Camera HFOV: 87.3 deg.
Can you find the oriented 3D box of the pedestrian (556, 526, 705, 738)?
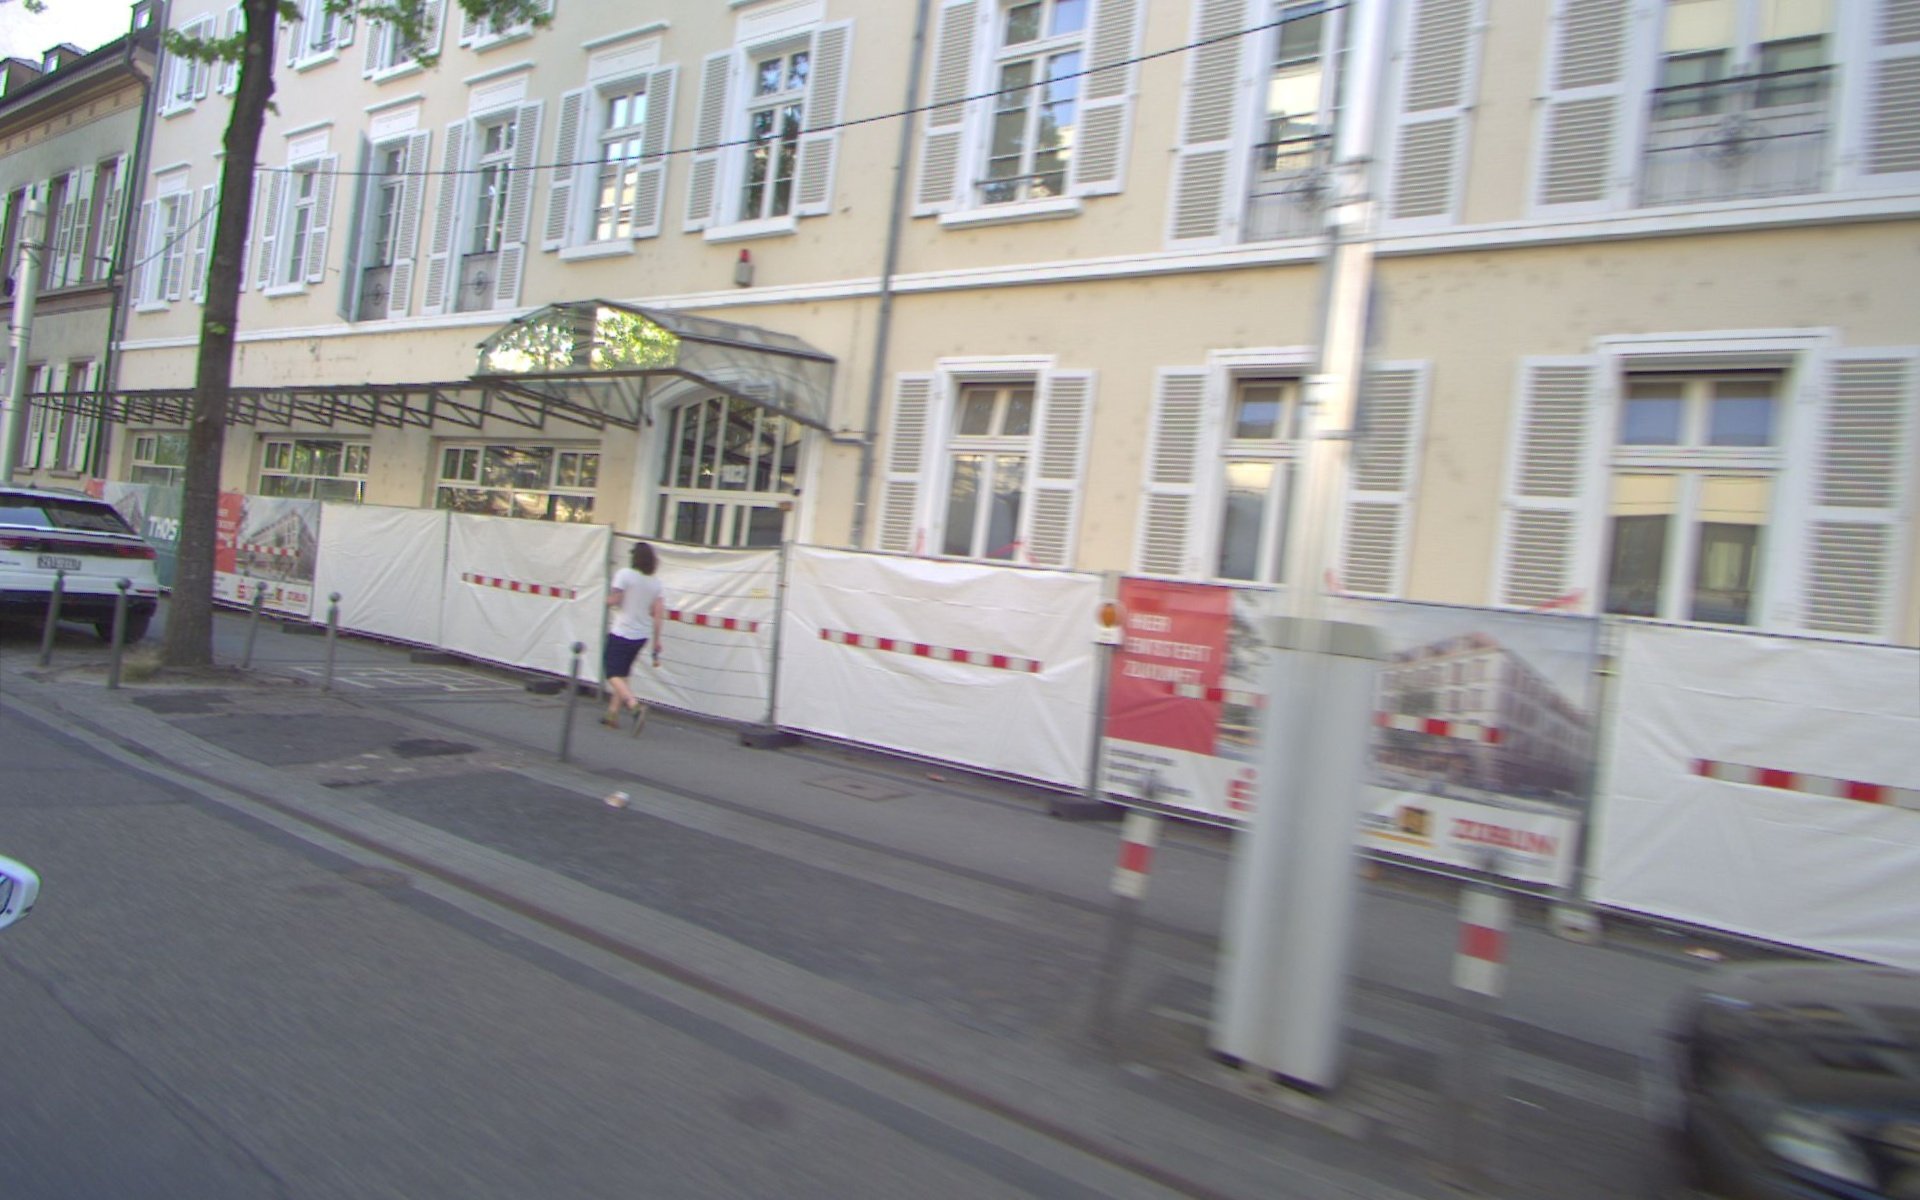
[{"bbox_3d":[-3.242,0.304,9.891,1.035,1.910,0.713,7,1,32],"label":"pedestrian"}]

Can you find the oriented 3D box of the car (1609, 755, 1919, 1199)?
[{"bbox_3d":[4.083,1.444,2.242,4.258,1.328,1.796,6,1,32],"label":"car"}]

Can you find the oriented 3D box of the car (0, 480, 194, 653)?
[{"bbox_3d":[-11.341,-0.520,11.676,4.882,1.709,2.001,6,1,28],"label":"car"}]
